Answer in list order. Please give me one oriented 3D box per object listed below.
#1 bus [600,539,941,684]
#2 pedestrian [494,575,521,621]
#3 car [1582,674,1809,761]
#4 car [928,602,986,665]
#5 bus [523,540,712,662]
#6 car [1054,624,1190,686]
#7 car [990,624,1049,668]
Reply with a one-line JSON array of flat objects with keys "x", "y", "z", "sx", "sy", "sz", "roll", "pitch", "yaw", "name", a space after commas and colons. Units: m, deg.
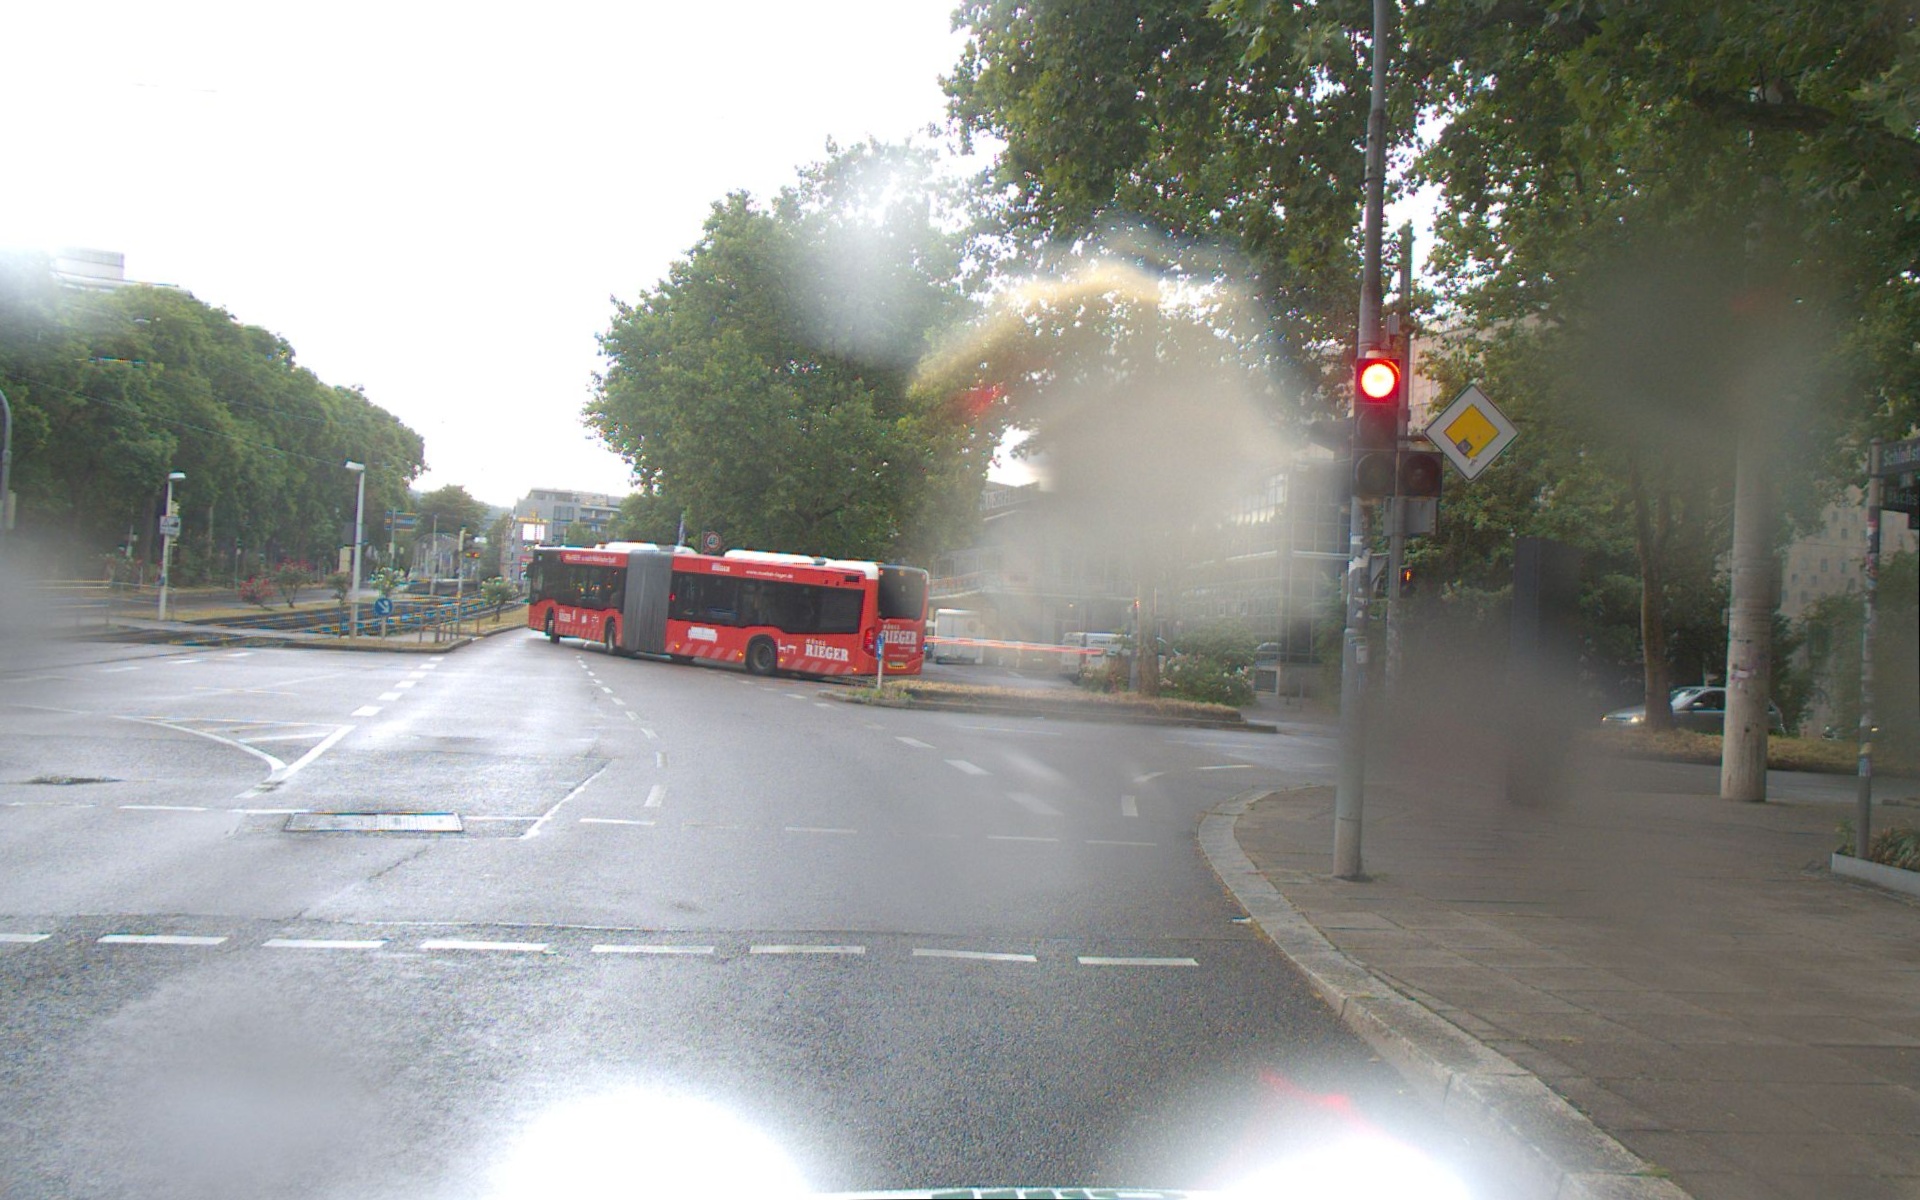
[{"x": -5.078, "y": 0.242, "z": 43.210, "sx": 8.992, "sy": 3.165, "sz": 2.656, "roll": 3, "pitch": -2, "yaw": 32, "name": "bus"}, {"x": -17.074, "y": -0.087, "z": 62.377, "sx": 0.723, "sy": 1.668, "sz": 0.870, "roll": 4, "pitch": -2, "yaw": -5, "name": "pedestrian"}, {"x": 15.571, "y": 2.470, "z": 35.128, "sx": 3.912, "sy": 1.467, "sz": 1.997, "roll": 4, "pitch": -1, "yaw": -7, "name": "car"}, {"x": -0.222, "y": 1.840, "z": 91.004, "sx": 2.496, "sy": 3.188, "sz": 5.024, "roll": 4, "pitch": -1, "yaw": -6, "name": "car"}, {"x": -10.450, "y": -0.029, "z": 49.550, "sx": 2.524, "sy": 3.165, "sz": 9.359, "roll": 5, "pitch": -1, "yaw": -30, "name": "bus"}, {"x": 6.146, "y": 2.069, "z": 62.618, "sx": 4.682, "sy": 1.977, "sz": 1.986, "roll": 5, "pitch": -2, "yaw": -23, "name": "car"}, {"x": 3.018, "y": 2.342, "z": 84.956, "sx": 1.959, "sy": 2.049, "sz": 3.987, "roll": 4, "pitch": -1, "yaw": -13, "name": "car"}]
